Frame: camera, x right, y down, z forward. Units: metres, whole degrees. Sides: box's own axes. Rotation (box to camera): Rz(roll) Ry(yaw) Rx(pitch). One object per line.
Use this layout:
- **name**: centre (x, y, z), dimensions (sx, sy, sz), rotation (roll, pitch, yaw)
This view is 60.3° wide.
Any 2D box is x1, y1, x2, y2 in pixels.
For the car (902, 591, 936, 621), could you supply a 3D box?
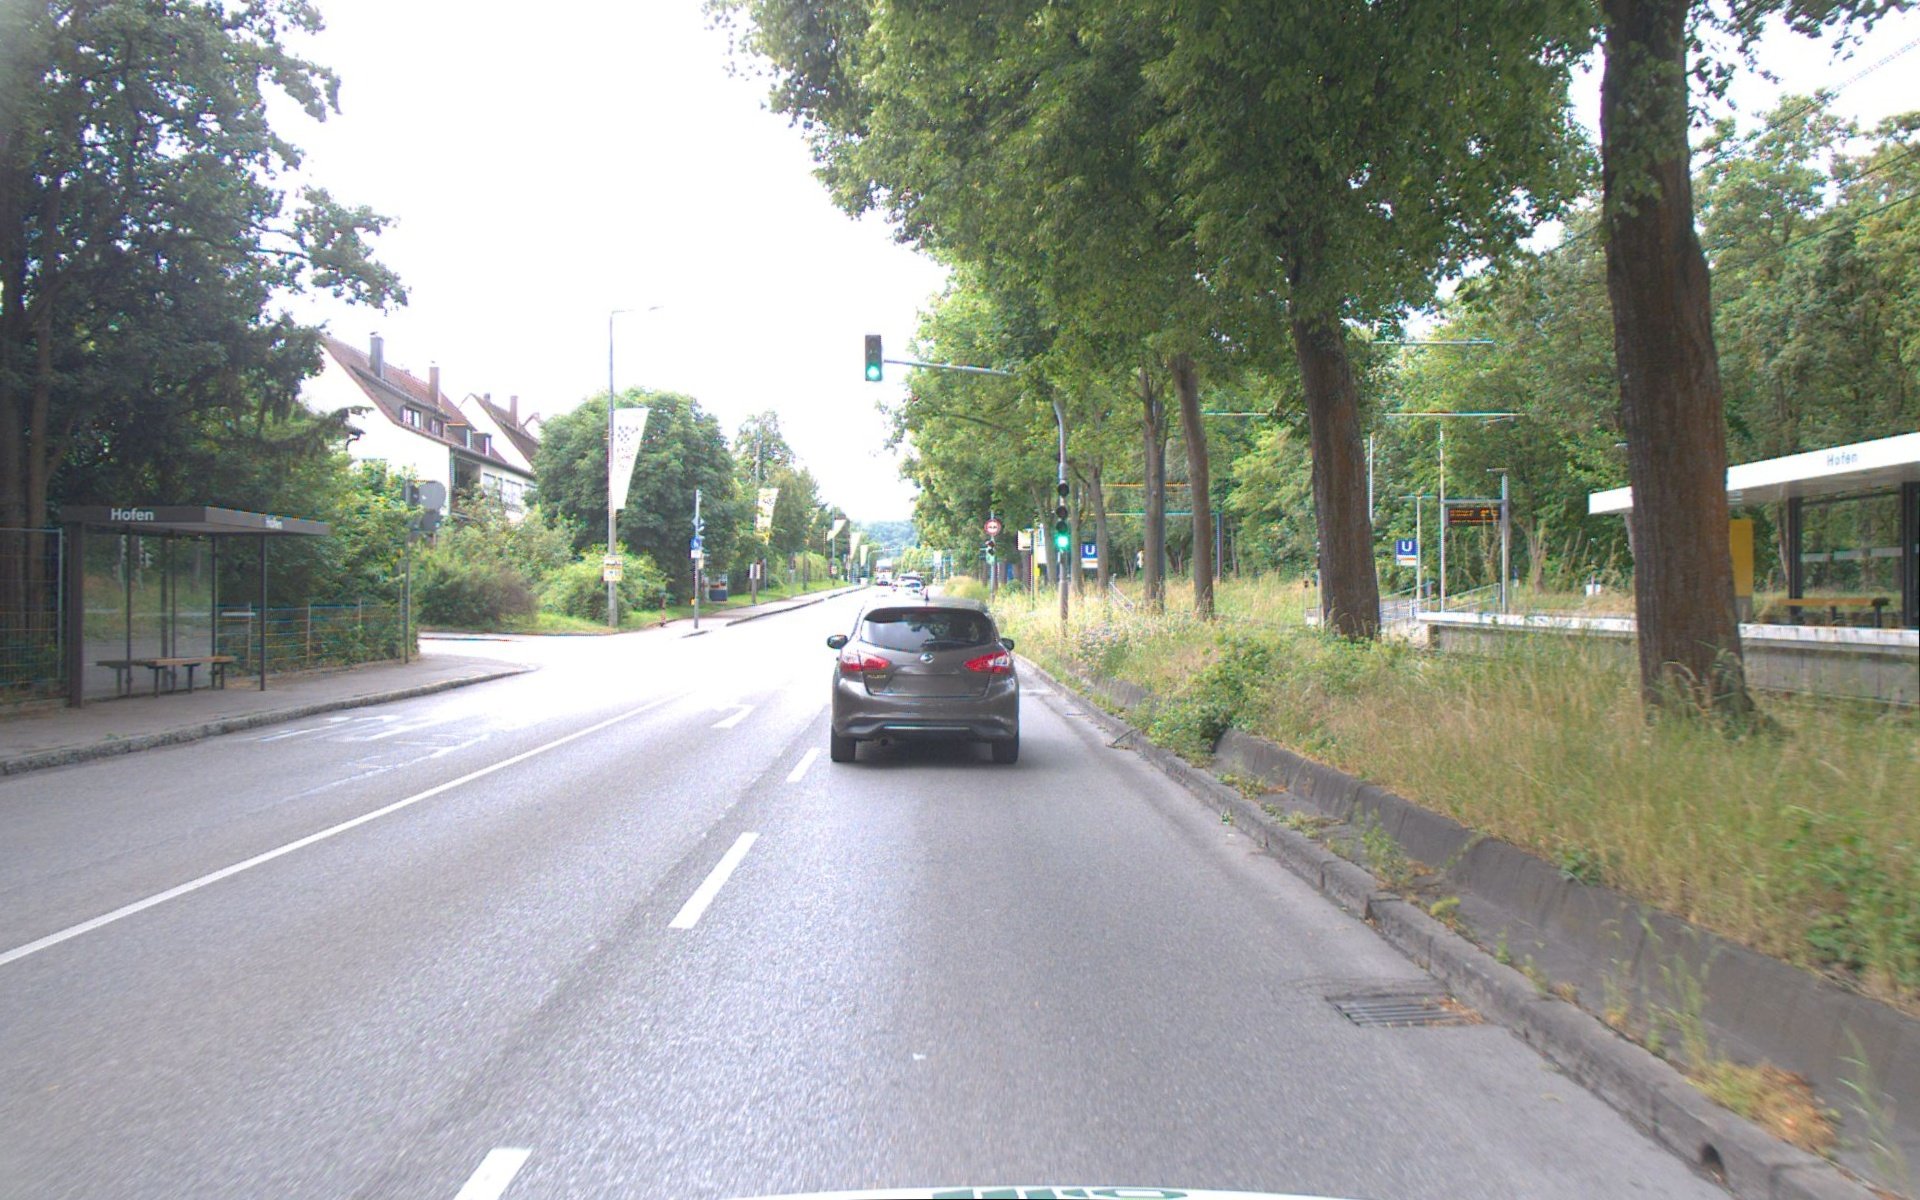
- **car**: centre (-2.093, 0.270, 83.812), dimensions (1.657, 1.466, 3.540), rotation (0, 0, -2)

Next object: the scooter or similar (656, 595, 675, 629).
- **scooter or similar**: centre (-11.314, 0.454, 63.548), dimensions (0.453, 1.281, 1.426), rotation (0, 0, 0)

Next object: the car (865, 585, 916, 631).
- **car**: centre (-2.289, 0.248, 55.204), dimensions (1.657, 1.466, 3.540), rotation (0, 0, -2)

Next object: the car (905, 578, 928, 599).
- **car**: centre (-3.115, -0.795, 118.490), dimensions (1.657, 1.466, 3.540), rotation (0, 0, -2)

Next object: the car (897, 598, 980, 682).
- **car**: centre (-0.423, 0.707, 31.049), dimensions (1.471, 1.466, 3.540), rotation (0, 0, -2)

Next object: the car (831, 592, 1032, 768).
- **car**: centre (-0.277, 0.703, 16.317), dimensions (1.747, 1.533, 3.695), rotation (0, 0, -1)
